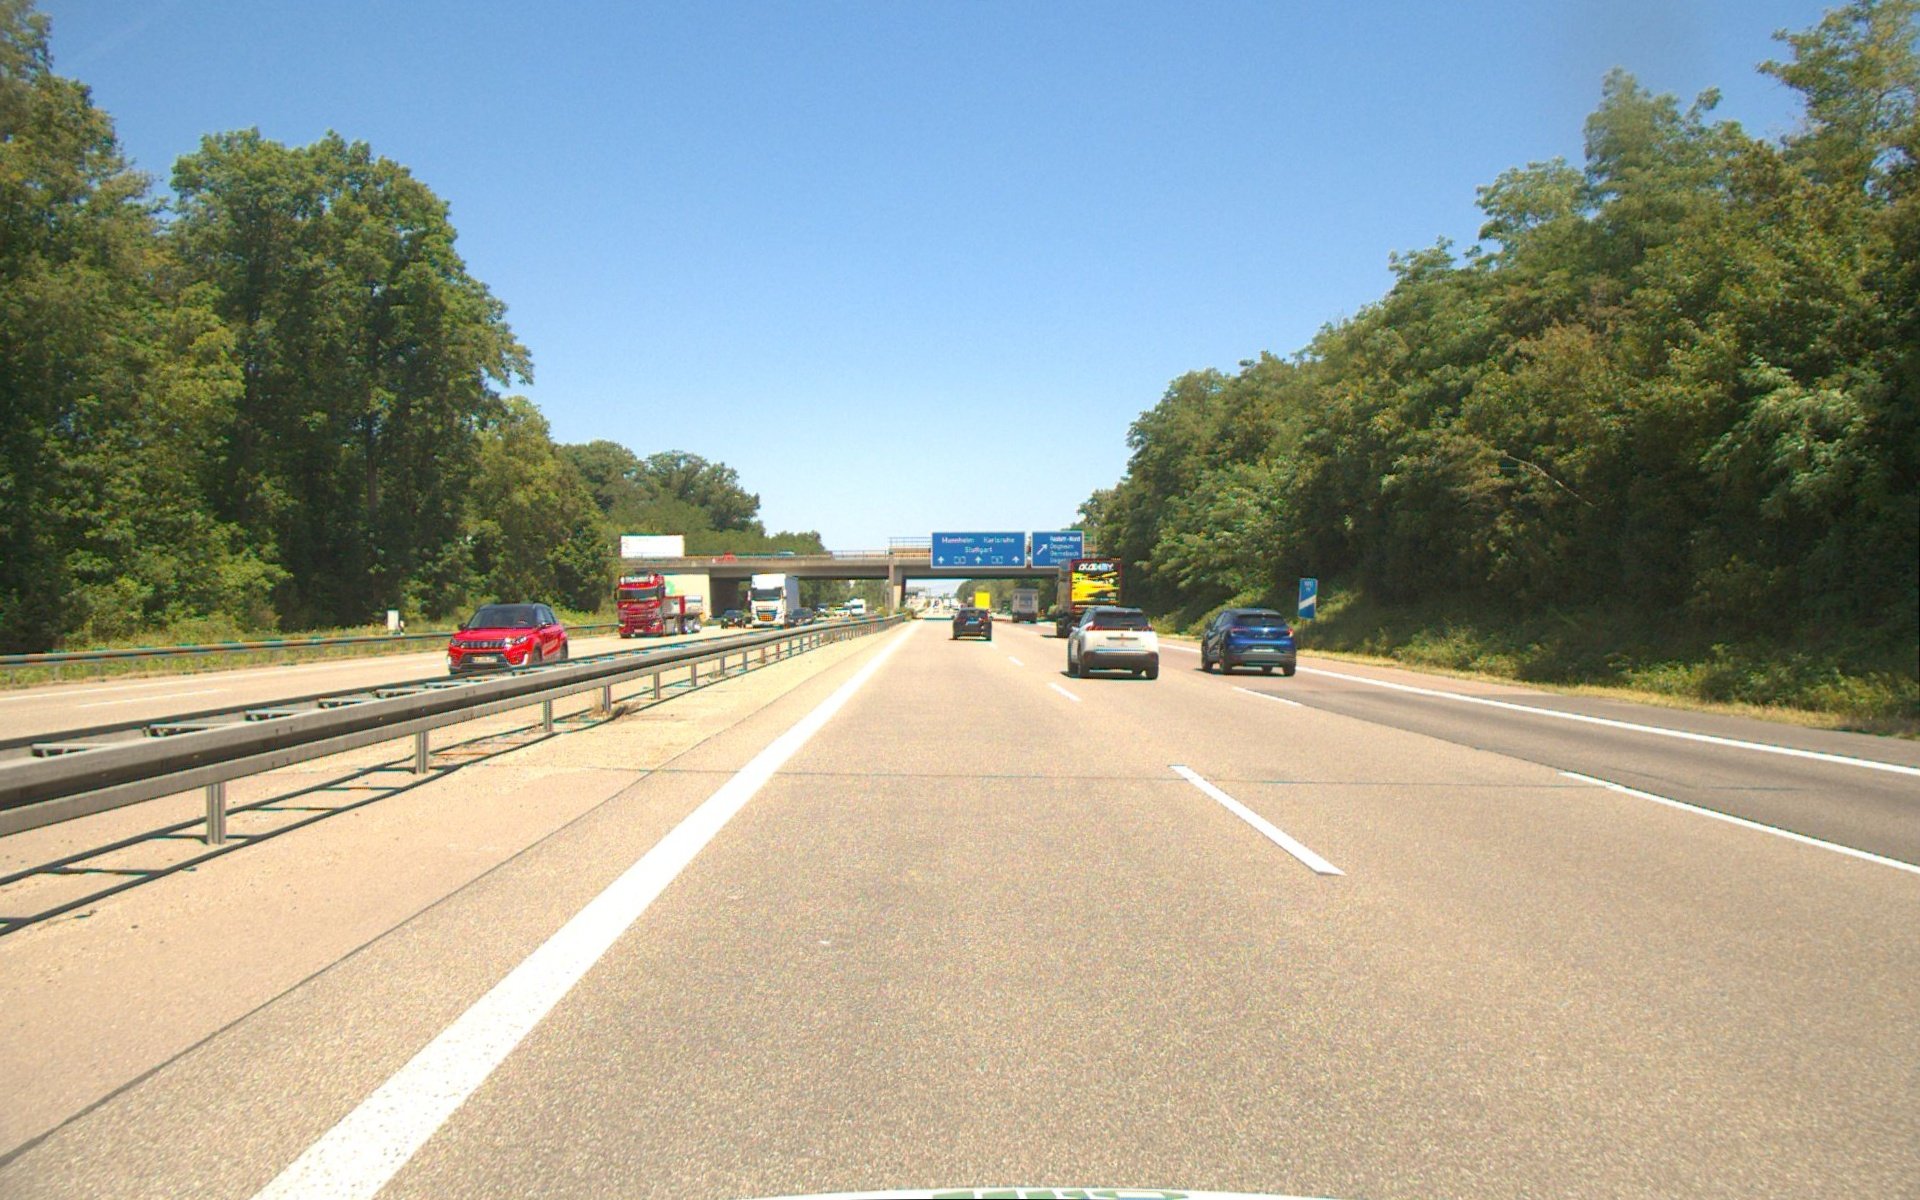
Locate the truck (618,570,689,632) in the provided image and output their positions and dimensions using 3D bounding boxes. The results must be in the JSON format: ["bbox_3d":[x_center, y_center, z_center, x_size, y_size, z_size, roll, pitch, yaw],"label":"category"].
[{"bbox_3d":[-17.942,0.090,97.237,2.693,3.453,7.660,1,-1,-1],"label":"truck"}]

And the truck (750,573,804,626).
[{"bbox_3d":[-14.978,-0.009,136.345,2.925,4.089,13.934,1,-1,0],"label":"truck"}]

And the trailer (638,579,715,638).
[{"bbox_3d":[-18.005,0.569,106.014,2.723,3.453,13.287,1,-1,-1],"label":"trailer"}]

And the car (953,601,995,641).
[{"bbox_3d":[0.605,0.927,74.656,1.790,1.736,3.999,1,-1,-1],"label":"car"}]

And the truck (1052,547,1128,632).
[{"bbox_3d":[6.750,-0.468,87.479,2.914,4.107,10.979,2,-1,-1],"label":"truck"}]

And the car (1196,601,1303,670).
[{"bbox_3d":[7.054,0.846,40.649,1.832,1.583,4.200,1,-1,-1],"label":"car"}]

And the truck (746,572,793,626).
[{"bbox_3d":[-14.898,-0.071,129.595,2.926,4.089,6.040,1,-1,0],"label":"truck"}]

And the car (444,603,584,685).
[{"bbox_3d":[-9.442,0.905,35.353,1.696,1.613,4.644,1,-1,0],"label":"car"}]

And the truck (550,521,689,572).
[{"bbox_3d":[-41.130,-6.467,200.453,16.153,5.663,3.169,1,-1,-8],"label":"truck"}]

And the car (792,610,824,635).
[{"bbox_3d":[-10.302,1.485,112.119,1.770,1.619,4.668,1,-1,-1],"label":"car"}]

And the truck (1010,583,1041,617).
[{"bbox_3d":[6.746,0.050,169.181,2.965,3.378,10.774,1,-1,3],"label":"truck"}]

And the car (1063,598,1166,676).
[{"bbox_3d":[3.431,0.809,37.574,1.790,1.636,4.807,1,-1,-1],"label":"car"}]
